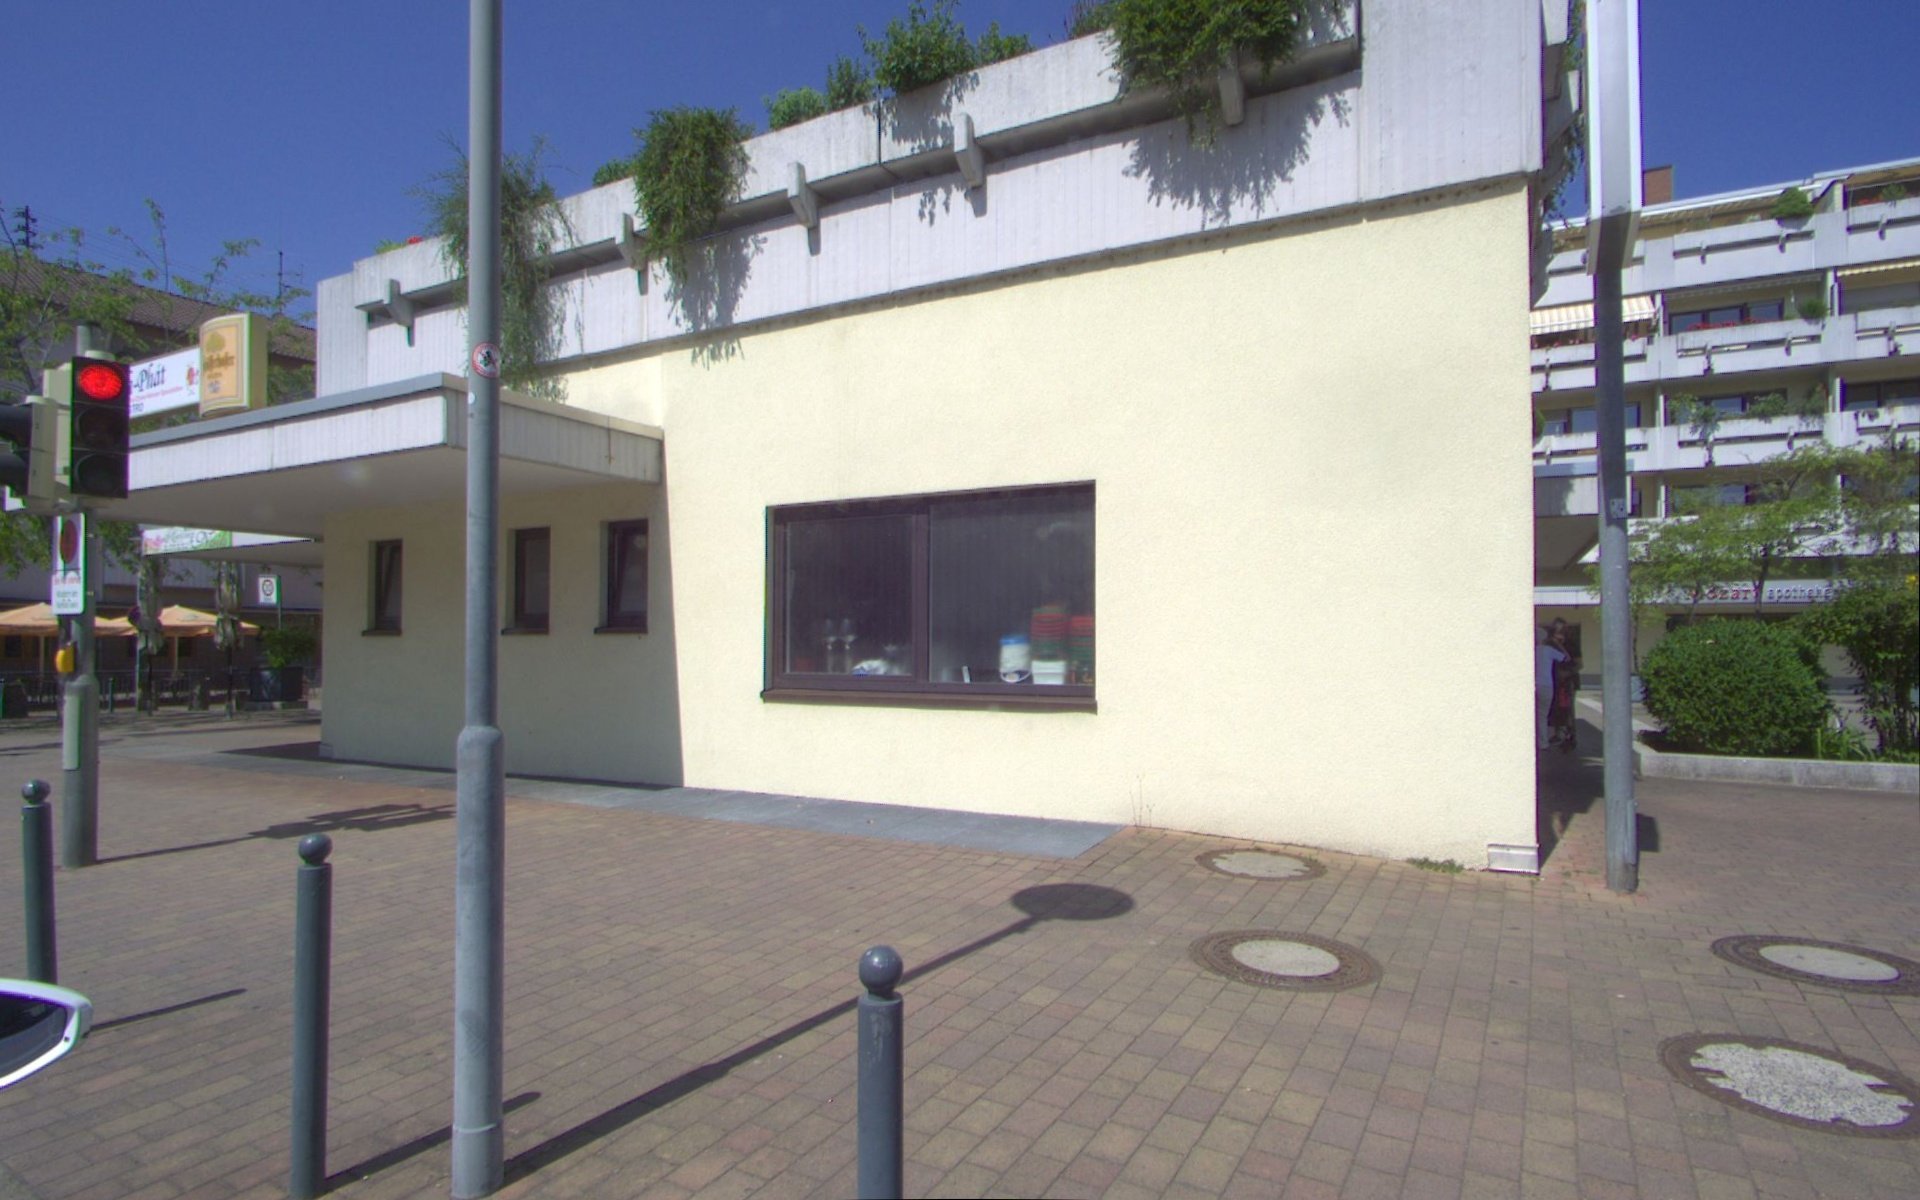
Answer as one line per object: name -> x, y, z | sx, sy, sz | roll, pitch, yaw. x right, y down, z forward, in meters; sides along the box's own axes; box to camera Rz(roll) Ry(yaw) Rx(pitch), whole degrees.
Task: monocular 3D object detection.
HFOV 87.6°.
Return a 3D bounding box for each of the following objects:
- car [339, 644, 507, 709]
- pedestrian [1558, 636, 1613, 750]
car -> -13.431, 1.884, 25.047 | 3.909, 1.528, 1.767 | -2, -3, 26
pedestrian -> 8.458, 1.230, 13.551 | 0.596, 1.482, 0.791 | -1, -2, 32
